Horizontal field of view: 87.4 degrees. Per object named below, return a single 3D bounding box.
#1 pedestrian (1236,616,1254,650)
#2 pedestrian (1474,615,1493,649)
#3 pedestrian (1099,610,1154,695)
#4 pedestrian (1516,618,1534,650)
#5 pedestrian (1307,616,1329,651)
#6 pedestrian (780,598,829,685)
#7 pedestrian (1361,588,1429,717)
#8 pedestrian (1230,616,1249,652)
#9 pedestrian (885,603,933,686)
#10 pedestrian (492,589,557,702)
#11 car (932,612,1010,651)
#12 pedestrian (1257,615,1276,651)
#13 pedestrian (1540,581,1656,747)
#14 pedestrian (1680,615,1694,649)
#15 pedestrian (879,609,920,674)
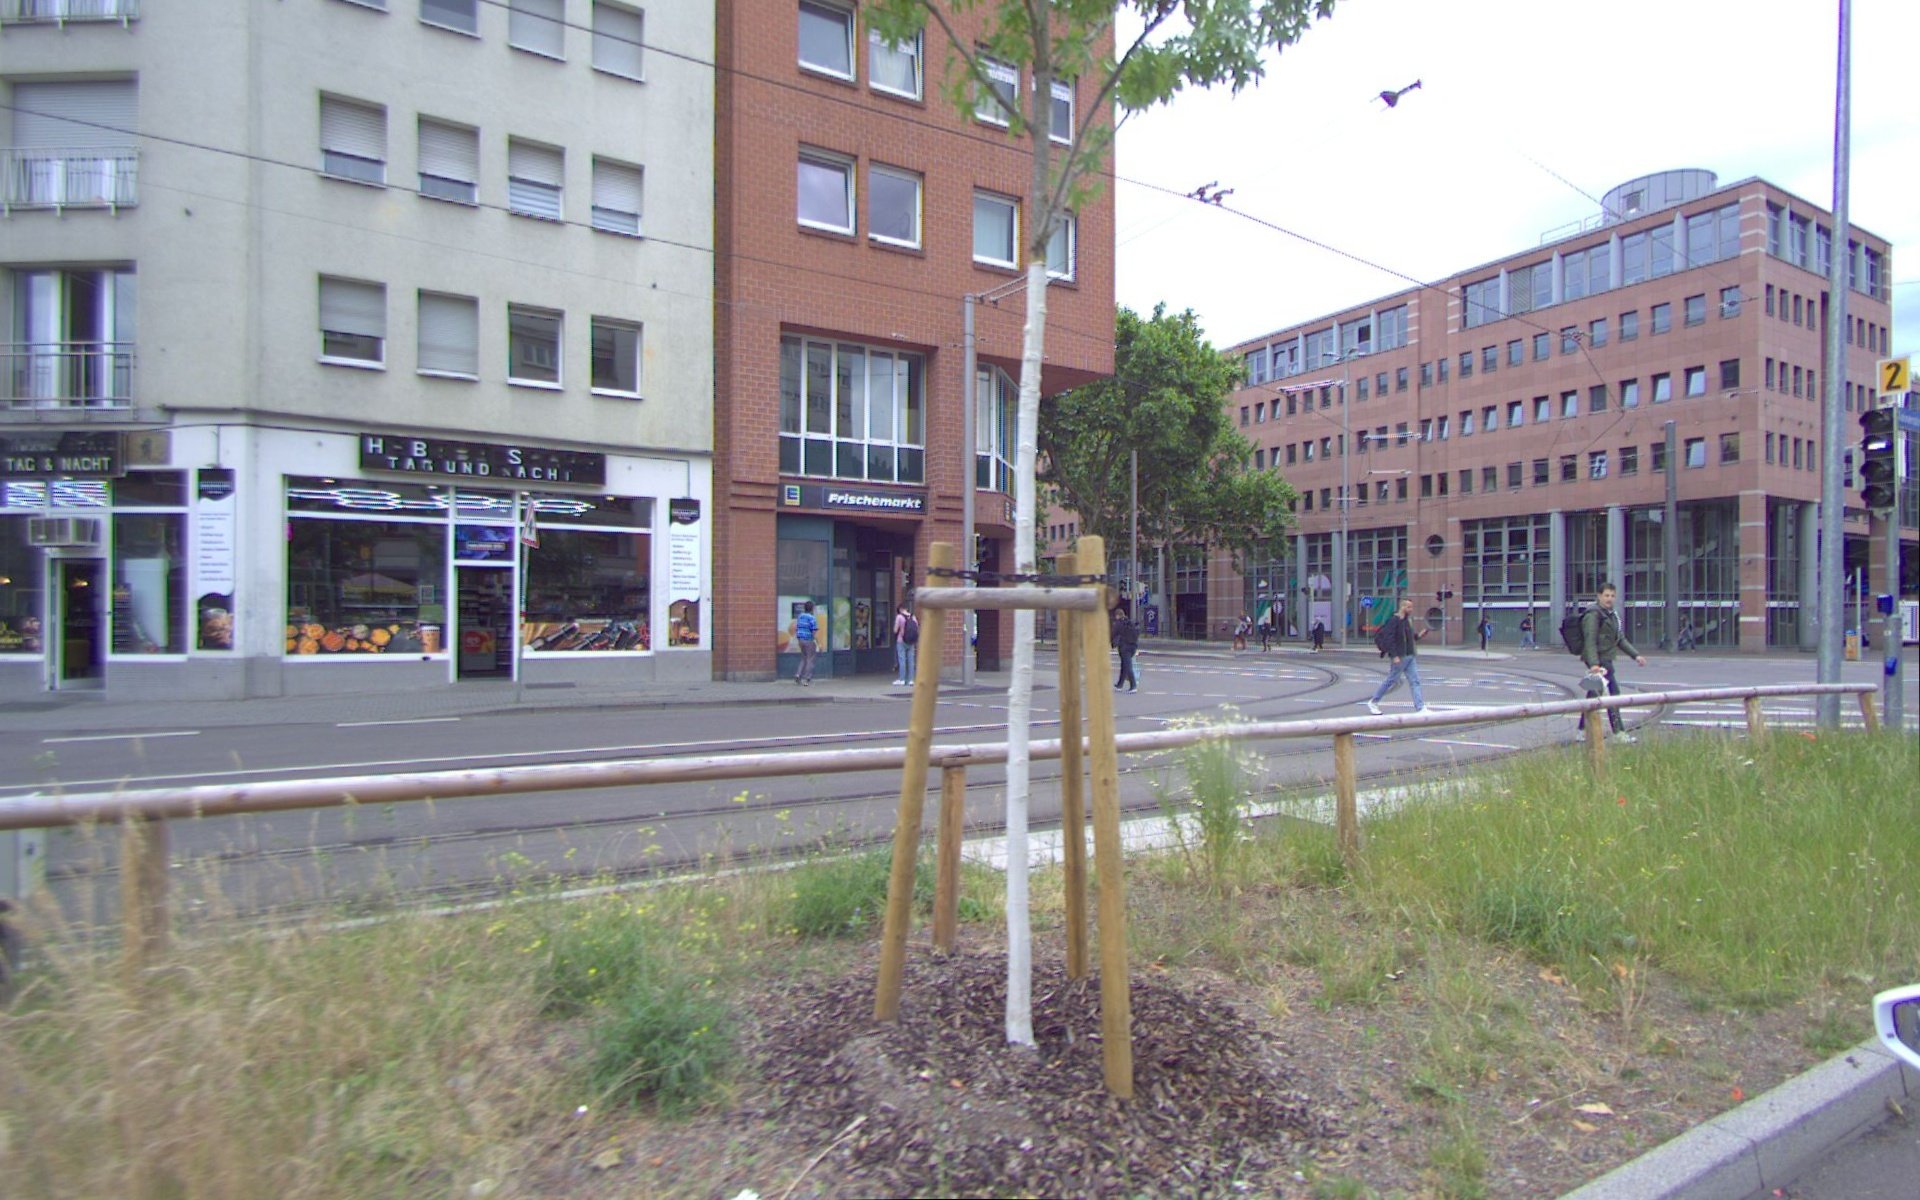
[{"bbox_3d":[13.649,1.576,48.090,0.624,1.633,0.568,2,-1,-37],"label":"pedestrian"},{"bbox_3d":[26.501,1.629,50.860,0.731,1.710,0.572,1,-1,34],"label":"pedestrian"},{"bbox_3d":[3.476,1.080,20.998,0.791,1.706,0.739,2,0,-34],"label":"pedestrian"},{"bbox_3d":[28.285,1.695,50.286,0.731,1.581,0.572,1,-1,34],"label":"pedestrian"},{"bbox_3d":[16.912,1.578,47.437,0.734,1.581,0.571,2,-1,-25],"label":"pedestrian"},{"bbox_3d":[-3.130,0.830,20.271,0.717,1.709,0.655,2,-2,-39],"label":"pedestrian"},{"bbox_3d":[6.672,0.790,15.407,0.790,1.915,0.607,2,-1,-32],"label":"pedestrian"},{"bbox_3d":[13.165,1.602,47.357,0.624,1.633,0.568,2,-1,-37],"label":"pedestrian"},{"bbox_3d":[-1.071,0.927,21.243,0.791,1.706,0.565,2,0,-34],"label":"pedestrian"},{"bbox_3d":[-6.798,0.709,15.692,0.717,1.709,0.654,3,-2,-42],"label":"pedestrian"},{"bbox_3d":[0.500,1.514,49.486,1.909,1.817,3.961,1,-1,-35],"label":"car"},{"bbox_3d":[14.058,1.522,46.093,0.624,1.595,0.568,2,-1,-37],"label":"pedestrian"},{"bbox_3d":[7.733,0.743,12.186,0.790,1.915,0.891,2,0,-32],"label":"pedestrian"},{"bbox_3d":[33.486,1.475,46.270,0.444,1.552,0.519,1,0,42],"label":"pedestrian"},{"bbox_3d":[-1.628,1.111,26.985,0.791,1.706,0.739,2,0,-34],"label":"pedestrian"}]
